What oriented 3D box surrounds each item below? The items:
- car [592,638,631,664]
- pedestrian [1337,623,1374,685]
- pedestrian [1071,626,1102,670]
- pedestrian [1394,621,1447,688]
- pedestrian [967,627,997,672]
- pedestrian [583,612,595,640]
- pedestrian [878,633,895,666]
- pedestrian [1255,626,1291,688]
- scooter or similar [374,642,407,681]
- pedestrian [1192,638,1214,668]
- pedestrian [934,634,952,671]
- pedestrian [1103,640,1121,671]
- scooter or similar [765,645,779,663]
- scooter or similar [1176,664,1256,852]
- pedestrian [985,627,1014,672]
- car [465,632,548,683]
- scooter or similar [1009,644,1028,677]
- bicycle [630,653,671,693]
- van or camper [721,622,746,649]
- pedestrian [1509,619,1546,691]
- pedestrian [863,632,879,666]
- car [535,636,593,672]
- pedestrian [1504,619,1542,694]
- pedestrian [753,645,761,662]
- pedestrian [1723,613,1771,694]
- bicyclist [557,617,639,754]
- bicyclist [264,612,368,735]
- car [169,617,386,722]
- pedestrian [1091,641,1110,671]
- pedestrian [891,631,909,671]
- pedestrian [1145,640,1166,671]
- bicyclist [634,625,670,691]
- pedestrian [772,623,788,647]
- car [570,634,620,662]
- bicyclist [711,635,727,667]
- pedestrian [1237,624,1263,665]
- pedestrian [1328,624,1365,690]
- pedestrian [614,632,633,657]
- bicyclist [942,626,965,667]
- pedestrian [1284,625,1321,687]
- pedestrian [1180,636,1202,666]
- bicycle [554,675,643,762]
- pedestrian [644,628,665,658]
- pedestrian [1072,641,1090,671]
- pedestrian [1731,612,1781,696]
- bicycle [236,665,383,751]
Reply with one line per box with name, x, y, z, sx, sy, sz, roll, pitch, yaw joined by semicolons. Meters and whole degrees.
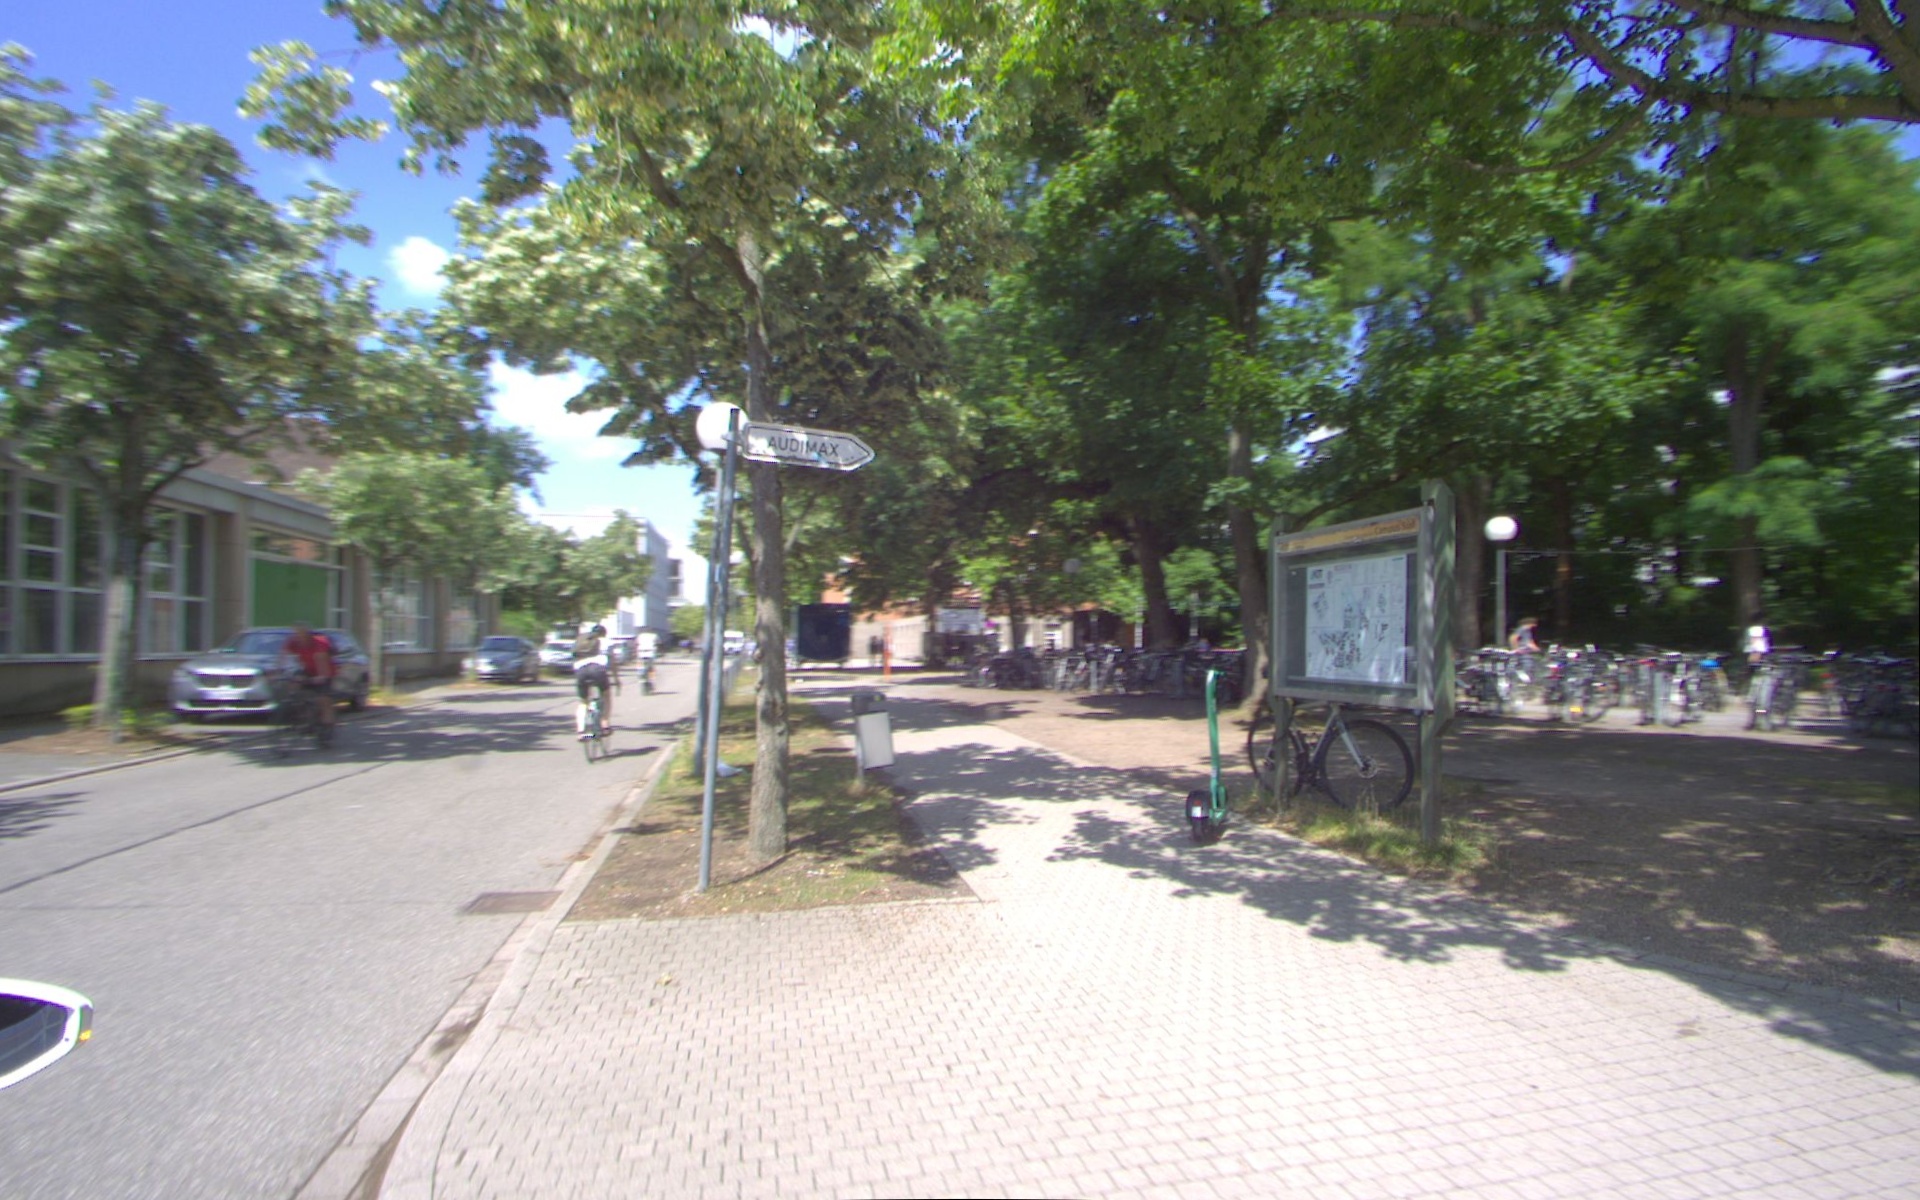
car;-20.645;3.025;59.399;1.637;1.429;3.805;2;-3;-12
pedestrian;11.656;1.569;29.507;0.732;1.798;0.719;1;-1;-19
pedestrian;5.206;1.982;41.306;0.945;1.798;0.917;1;-1;-19
pedestrian;12.713;1.489;27.649;0.951;1.798;0.966;1;-1;-33
pedestrian;0.977;2.220;44.747;0.823;1.974;1.073;-1;-1;-32
pedestrian;-27.256;1.905;73.543;0.612;2.004;0.821;2;-4;-43
pedestrian;-3.754;2.517;51.134;0.753;1.682;0.824;0;-2;-11
pedestrian;9.225;1.672;29.504;0.732;1.798;0.719;1;-1;-19
scooter or similar;-17.920;1.933;31.510;0.497;1.183;1.215;2;-3;-11
pedestrian;10.583;2.298;43.617;0.657;1.288;0.621;-2;0;-16
pedestrian;-0.852;2.636;50.354;0.753;1.878;0.824;0;-2;-11
pedestrian;7.062;2.575;46.527;0.561;1.364;0.728;-2;0;-16
scooter or similar;-12.580;3.616;66.914;0.638;1.175;1.265;0;-2;4
scooter or similar;1.786;1.048;7.067;0.488;1.128;1.361;0;-1;13
pedestrian;1.781;2.223;45.249;0.823;1.974;1.073;-1;-1;-32
car;-15.364;1.936;34.118;1.731;1.575;4.111;3;-3;-13
scooter or similar;2.216;2.316;38.288;0.417;1.234;1.294;1;-3;-11
bicycle;-8.557;2.001;27.770;0.796;1.014;2.123;2;-3;-10
van or camper;-21.359;3.410;94.721;1.962;2.475;4.571;0;-3;-9
pedestrian;14.305;1.374;25.236;0.712;1.798;0.739;0;-1;38
pedestrian;-4.536;2.501;50.974;0.686;1.682;0.788;0;-2;-11
car;-17.691;2.418;44.932;1.699;1.474;4.581;3;-3;-13
pedestrian;13.840;1.380;24.604;0.712;1.798;0.739;0;-1;38
pedestrian;-23.254;6.107;114.736;0.778;1.883;1.025;0;-2;-10
pedestrian;17.755;1.195;22.601;0.709;1.798;0.742;0;-1;26
bicyclist;-4.701;1.103;13.074;0.706;1.683;1.095;3;-2;-8
bicyclist;-8.589;0.973;13.393;0.822;1.562;0.960;-1;-2;-6
car;-12.445;1.260;18.651;1.795;1.652;4.514;3;-3;-14
pedestrian;6.514;2.594;46.369;0.561;1.364;0.728;-2;0;-16
pedestrian;-2.456;2.085;40.927;0.559;1.590;0.927;0;-3;-11
pedestrian;8.949;2.541;45.822;0.656;1.364;0.718;-2;0;-16
bicyclist;-8.563;1.609;27.850;0.759;1.778;0.848;3;-2;-10
pedestrian;-13.582;2.610;75.383;0.943;1.716;0.705;5;0;-1
car;-19.366;2.560;53.299;1.698;1.360;4.165;3;-3;-10
bicyclist;-13.557;2.872;56.300;0.796;1.778;0.692;2;-3;-11
pedestrian;11.828;1.814;40.867;0.656;1.602;0.718;-2;0;-16
pedestrian;10.740;1.571;27.846;0.737;1.798;0.714;1;-1;-43
pedestrian;-23.917;3.157;71.196;0.967;1.761;0.699;1;-2;24
bicyclist;-0.303;2.065;44.466;0.524;1.751;1.073;-1;-1;-32
pedestrian;10.101;1.633;29.529;0.732;1.798;0.719;1;-1;-19
pedestrian;10.241;2.276;44.417;0.657;1.288;0.621;-2;0;-16
bicycle;-4.709;1.517;13.180;0.695;1.005;1.911;1;-3;-8
pedestrian;-20.922;2.920;68.622;1.100;1.887;0.849;5;6;34
pedestrian;5.694;2.642;47.085;0.561;1.364;0.728;-2;0;-16
pedestrian;17.442;1.168;21.960;0.709;1.798;0.742;0;-1;26
bicycle;-8.615;1.441;13.382;0.803;1.053;1.934;0;-6;-6
